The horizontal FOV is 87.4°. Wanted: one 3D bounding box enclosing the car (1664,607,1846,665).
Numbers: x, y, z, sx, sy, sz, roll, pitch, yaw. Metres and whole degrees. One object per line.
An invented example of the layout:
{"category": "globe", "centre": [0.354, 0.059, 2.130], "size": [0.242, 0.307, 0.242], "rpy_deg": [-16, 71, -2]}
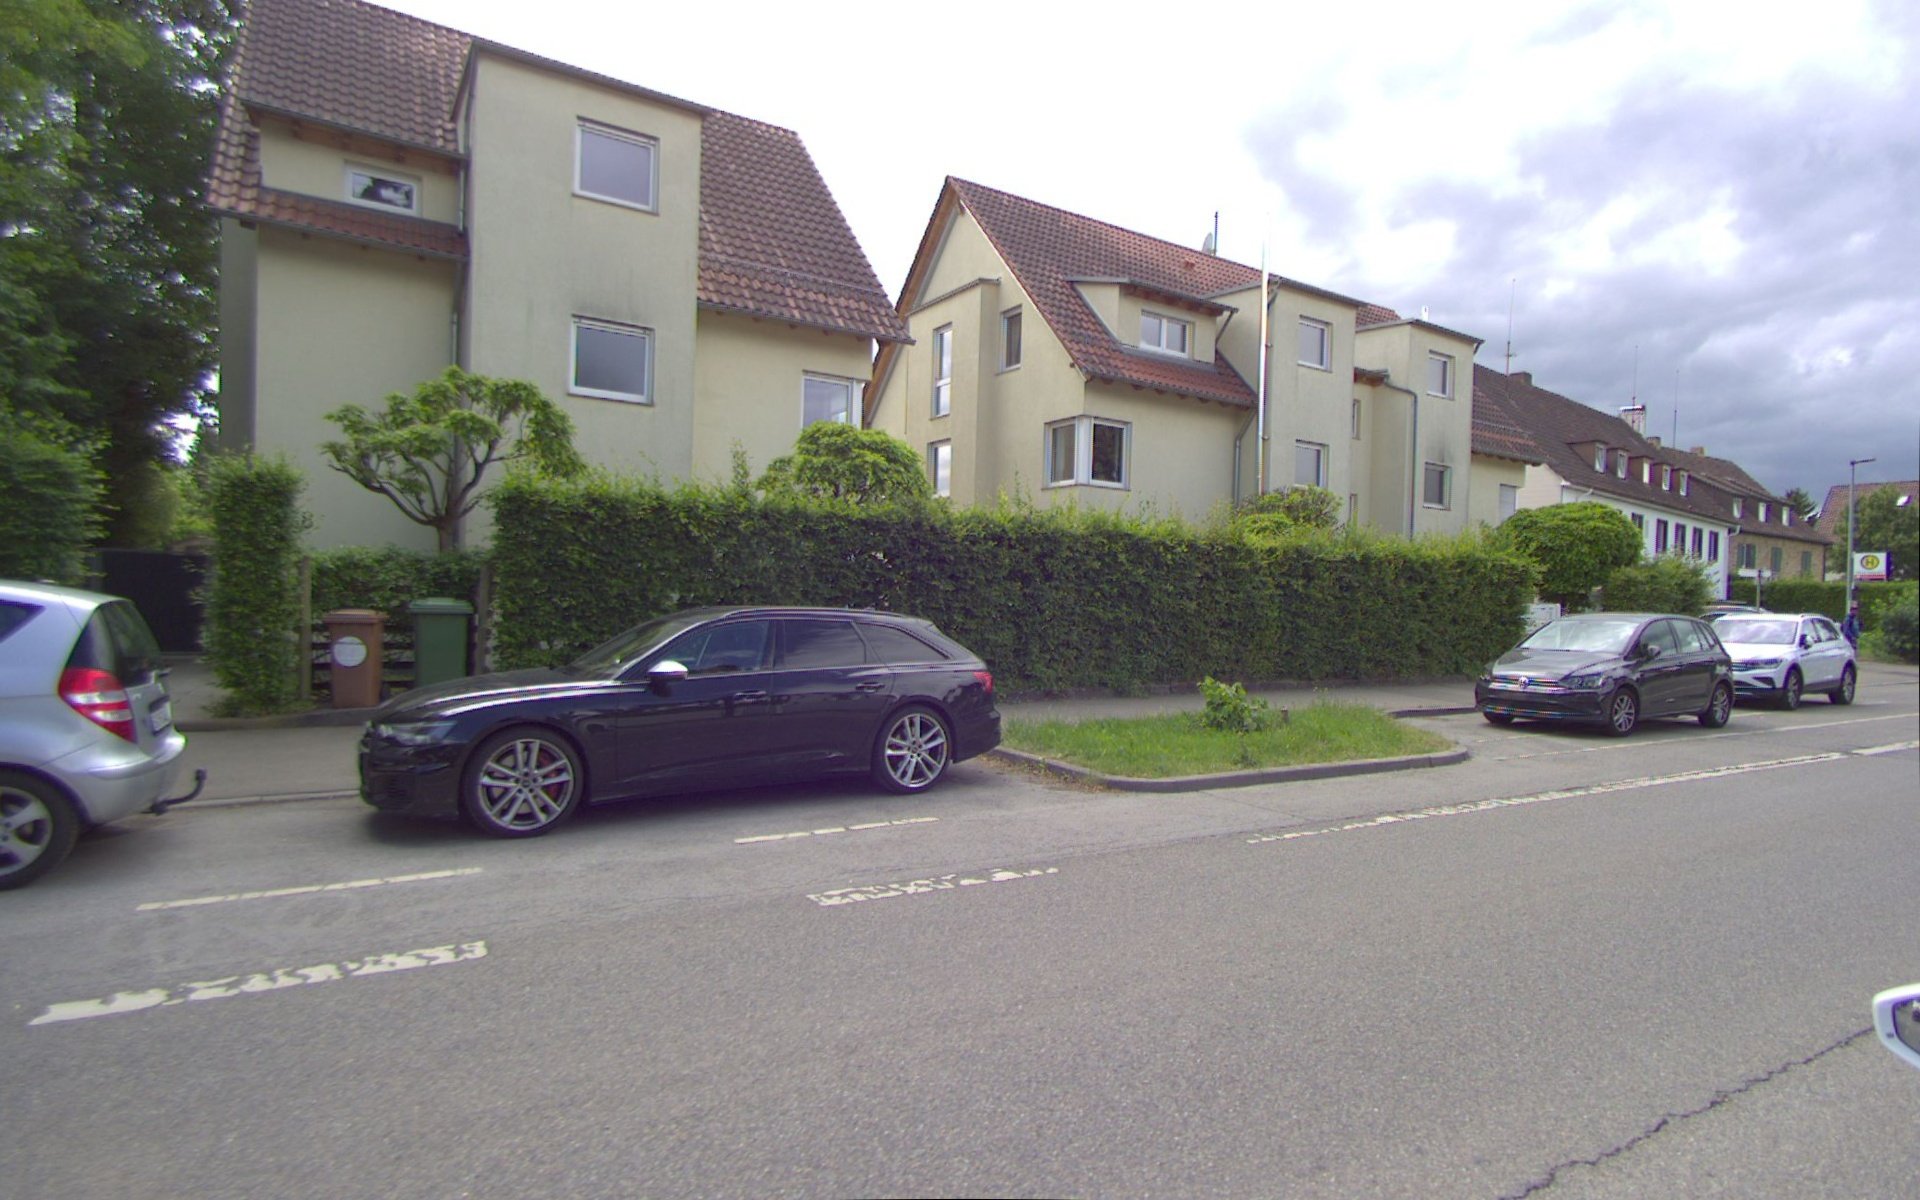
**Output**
{"category": "car", "centre": [25.889, 1.124, 32.803], "size": [4.463, 1.574, 2.025], "rpy_deg": [3, 1, 43]}

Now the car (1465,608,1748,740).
{"category": "car", "centre": [9.037, 0.939, 13.955], "size": [4.225, 1.572, 1.668], "rpy_deg": [1, 0, -32]}

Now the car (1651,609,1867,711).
{"category": "car", "centre": [14.761, 1.030, 18.490], "size": [4.538, 1.656, 1.810], "rpy_deg": [1, -1, -34]}

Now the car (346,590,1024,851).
{"category": "car", "centre": [-2.015, 0.752, 7.993], "size": [4.839, 1.504, 1.982], "rpy_deg": [1, -1, -34]}

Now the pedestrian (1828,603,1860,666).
{"category": "pedestrian", "centre": [25.957, 1.012, 29.496], "size": [0.664, 1.830, 0.501], "rpy_deg": [1, 0, -31]}

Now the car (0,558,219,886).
{"category": "car", "centre": [-6.276, 0.584, 5.091], "size": [3.865, 1.634, 1.709], "rpy_deg": [1, -1, -31]}

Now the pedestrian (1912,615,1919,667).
{"category": "pedestrian", "centre": [31.343, 1.323, 32.387], "size": [0.873, 1.686, 0.781], "rpy_deg": [1, 0, -37]}
